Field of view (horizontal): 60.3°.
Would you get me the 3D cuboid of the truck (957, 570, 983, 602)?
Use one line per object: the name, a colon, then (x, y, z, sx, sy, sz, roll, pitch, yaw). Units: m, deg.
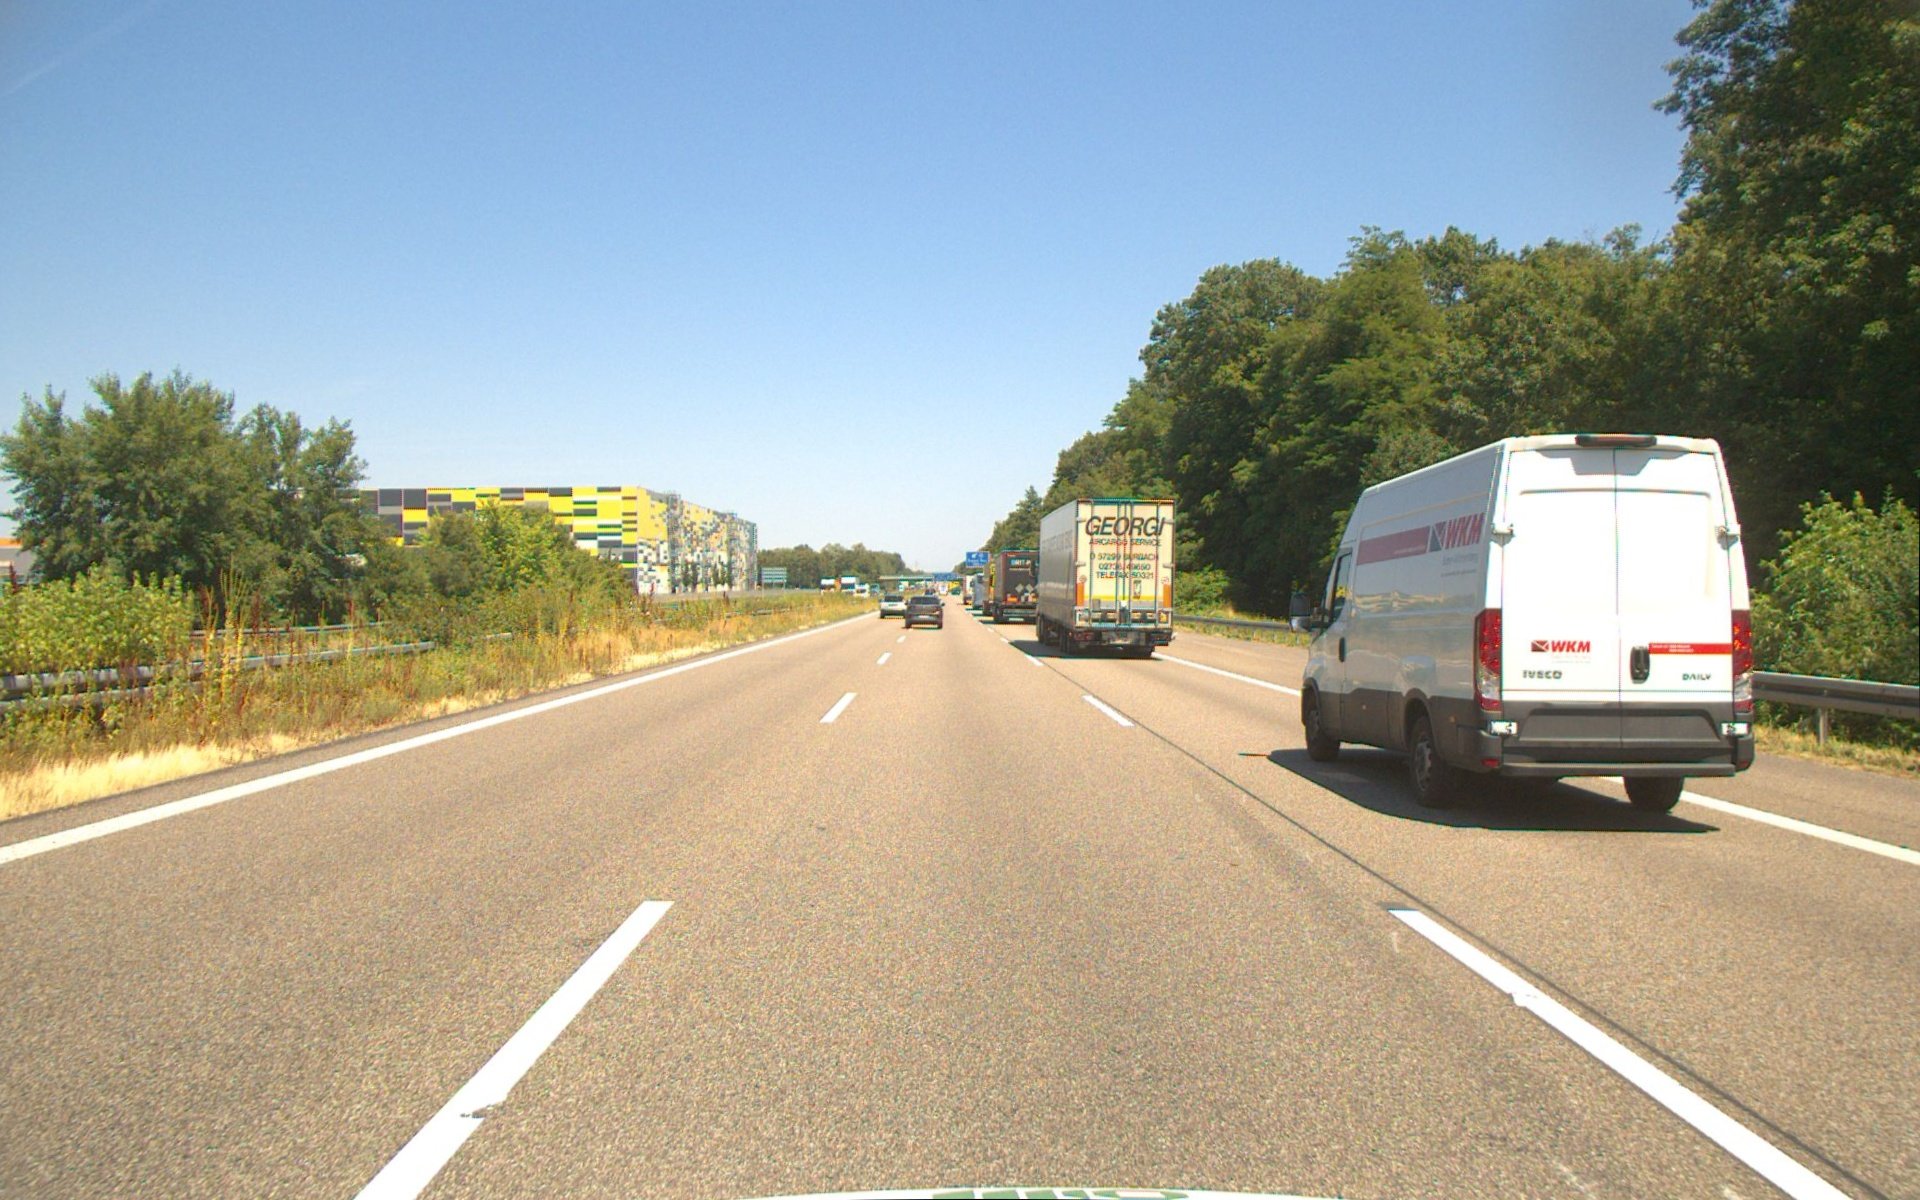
truck: (1.301, -1.874, 223.109, 3.352, 4.198, 9.564, -1, 0, 0)

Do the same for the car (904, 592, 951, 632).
car: (-1.563, 0.555, 79.146, 2.171, 1.821, 5.392, 0, 0, -1)

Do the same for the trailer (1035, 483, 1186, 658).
trailer: (4.113, -0.782, 48.399, 2.933, 4.364, 13.415, 1, 0, -1)

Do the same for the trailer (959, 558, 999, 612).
trailer: (1.408, -1.163, 128.265, 2.777, 4.023, 11.681, 0, 0, -1)

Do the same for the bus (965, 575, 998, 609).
bus: (2.167, -0.829, 168.900, 3.001, 3.385, 8.271, -1, 0, -2)

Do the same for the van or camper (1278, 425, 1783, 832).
van or camper: (4.433, 0.179, 14.274, 1.981, 2.683, 6.485, 1, 0, -1)

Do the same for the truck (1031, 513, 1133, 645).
truck: (4.014, -0.672, 55.670, 2.941, 4.197, 5.252, 1, 0, -1)

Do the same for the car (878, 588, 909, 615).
car: (-4.356, 0.085, 108.245, 1.953, 1.758, 4.129, 0, 0, -2)

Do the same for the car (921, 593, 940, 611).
car: (-2.915, 0.168, 163.110, 1.902, 1.736, 3.999, 0, 0, -1)

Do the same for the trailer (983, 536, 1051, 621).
trailer: (3.218, -1.208, 97.765, 3.043, 4.585, 14.892, 1, 0, -1)
